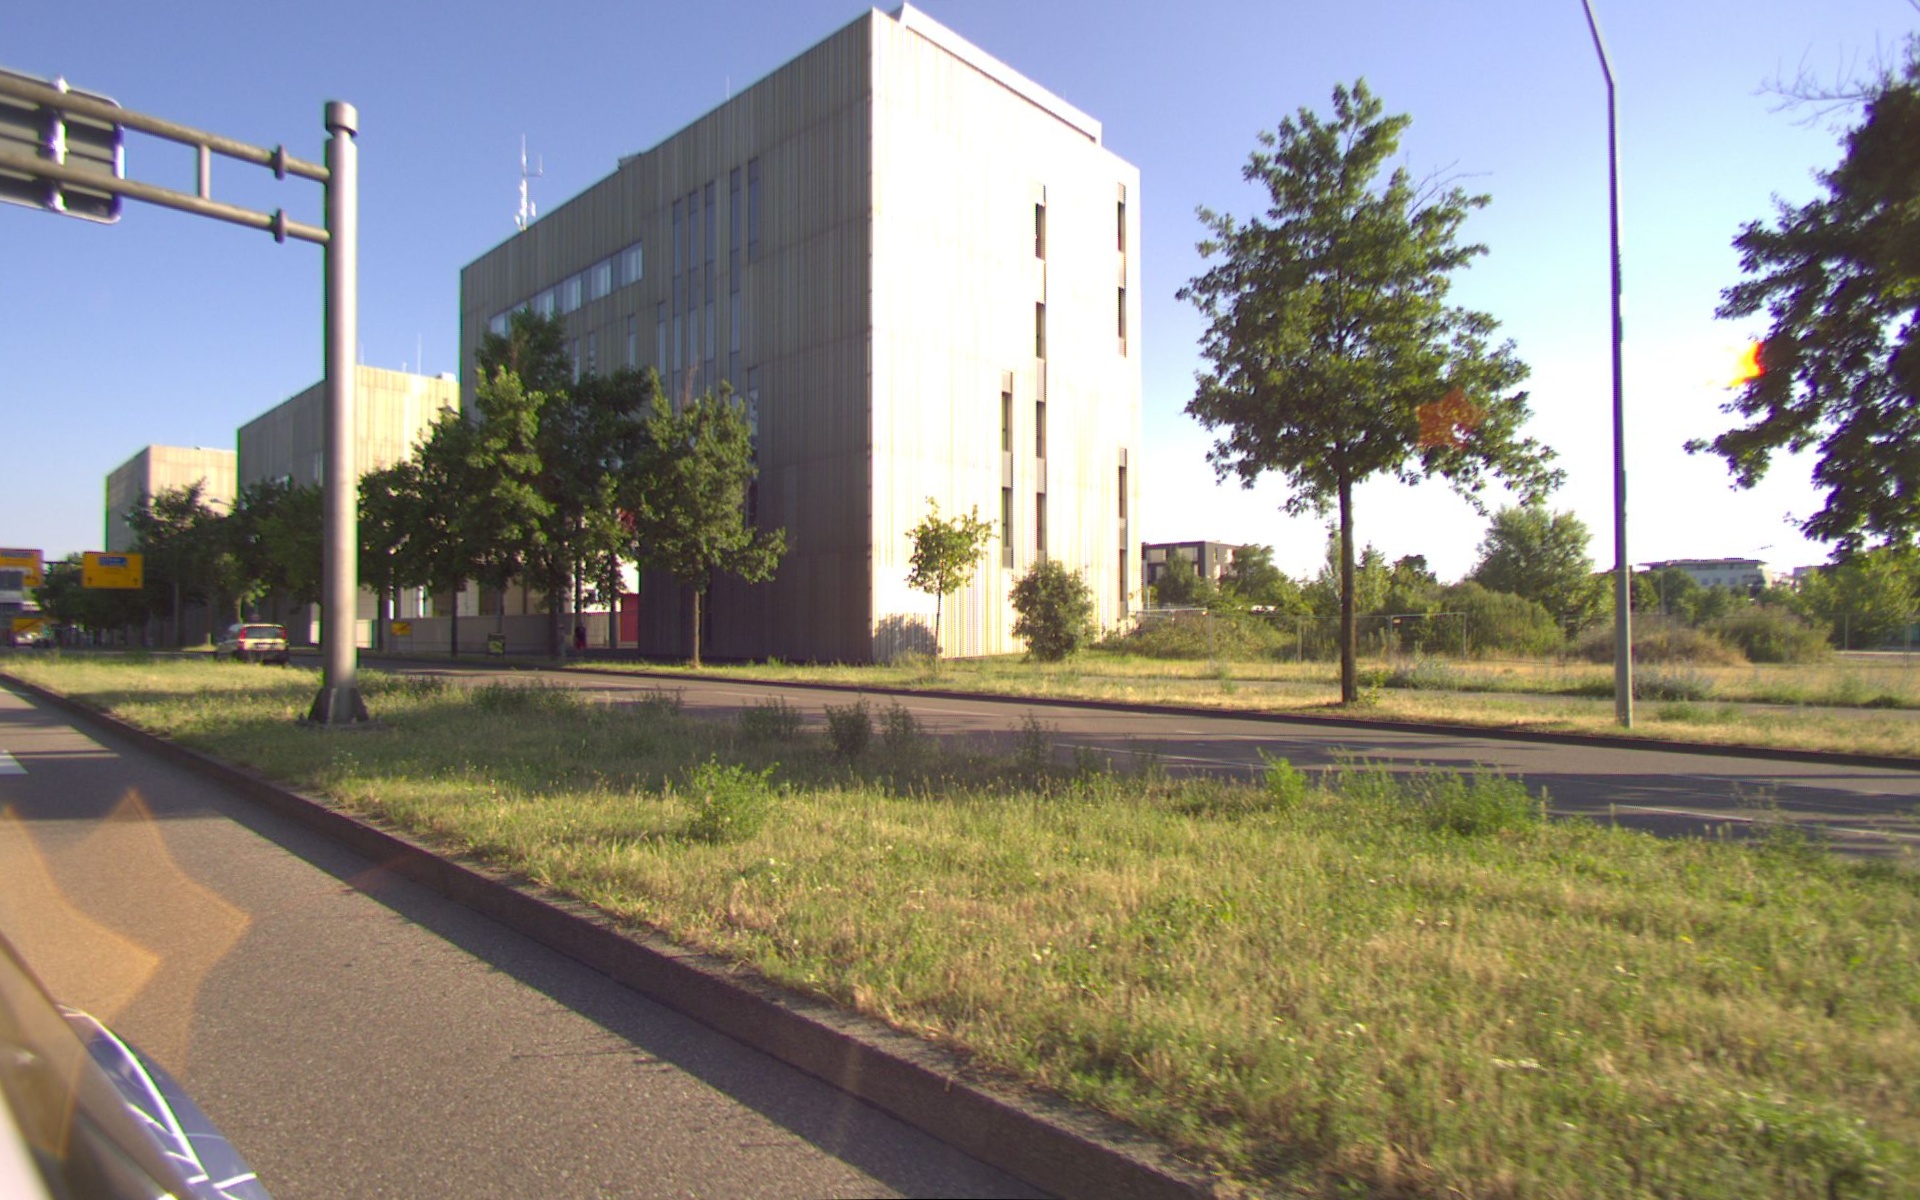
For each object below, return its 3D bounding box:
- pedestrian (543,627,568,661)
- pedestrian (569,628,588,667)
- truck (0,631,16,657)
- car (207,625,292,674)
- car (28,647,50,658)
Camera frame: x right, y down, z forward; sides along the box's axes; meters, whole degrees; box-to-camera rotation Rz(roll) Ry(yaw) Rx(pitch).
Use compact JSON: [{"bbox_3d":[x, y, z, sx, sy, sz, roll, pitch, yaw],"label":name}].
[{"bbox_3d":[-19.151,2.085,47.929,0.909,1.614,0.767,-3,-3,44],"label":"pedestrian"},{"bbox_3d":[-18.066,2.251,47.944,0.717,1.855,0.625,-3,-3,44],"label":"pedestrian"},{"bbox_3d":[-144.481,6.614,152.606,2.963,3.840,10.097,1,-3,-43],"label":"truck"},{"bbox_3d":[-24.265,1.660,34.540,3.410,1.587,1.546,-2,-2,41],"label":"car"},{"bbox_3d":[-127.901,7.311,140.506,3.860,1.524,1.581,-2,-3,37],"label":"car"}]
